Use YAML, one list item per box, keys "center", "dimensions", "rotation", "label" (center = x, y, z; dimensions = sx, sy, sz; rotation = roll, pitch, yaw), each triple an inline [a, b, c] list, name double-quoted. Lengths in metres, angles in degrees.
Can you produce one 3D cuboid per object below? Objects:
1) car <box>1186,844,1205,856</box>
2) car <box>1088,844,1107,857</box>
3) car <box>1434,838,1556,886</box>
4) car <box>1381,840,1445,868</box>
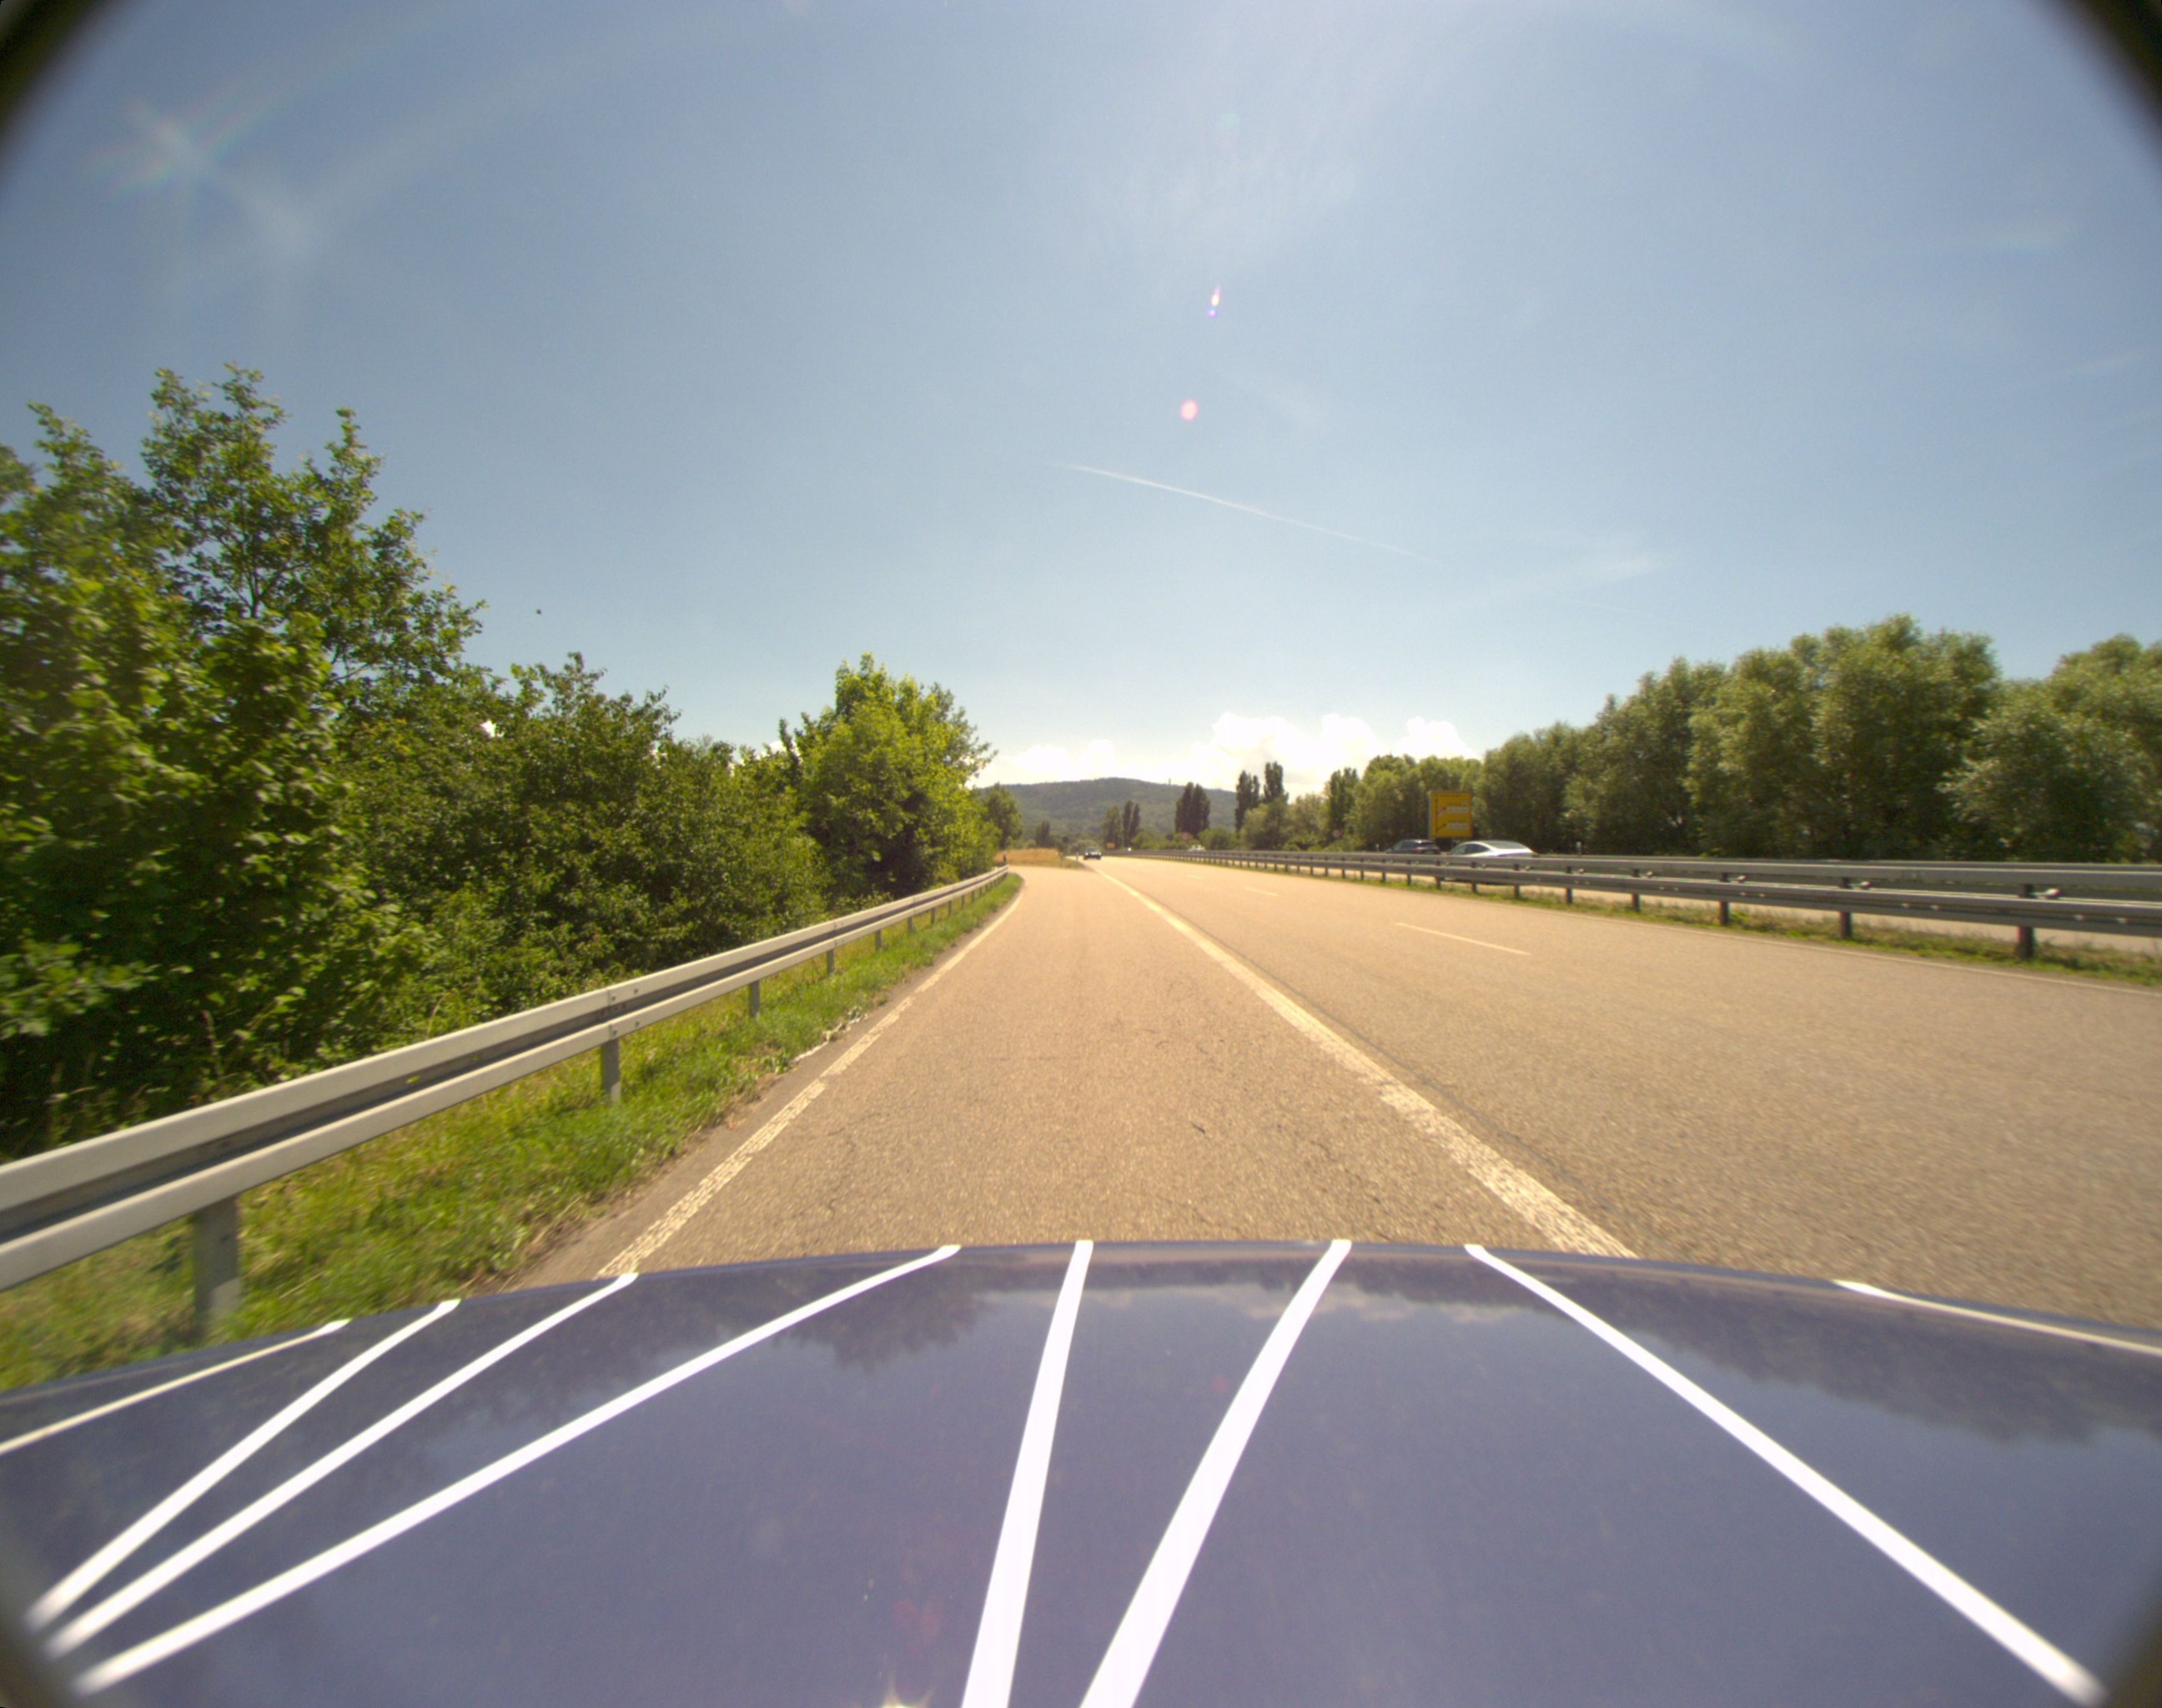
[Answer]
- center: [14.834, -0.552, 98.448]
  dimensions: [1.714, 1.495, 3.998]
  rotation: [-1, 1, -2]
  label: "car"
- center: [1.885, -0.415, 89.388]
  dimensions: [1.909, 1.368, 3.889]
  rotation: [-1, 0, -4]
  label: "car"
- center: [14.039, 0.234, 26.059]
  dimensions: [1.923, 1.481, 3.999]
  rotation: [-1, 1, -2]
  label: "car"
- center: [18.923, -0.026, 43.510]
  dimensions: [1.693, 1.543, 4.073]
  rotation: [-1, 1, -3]
  label: "car"
